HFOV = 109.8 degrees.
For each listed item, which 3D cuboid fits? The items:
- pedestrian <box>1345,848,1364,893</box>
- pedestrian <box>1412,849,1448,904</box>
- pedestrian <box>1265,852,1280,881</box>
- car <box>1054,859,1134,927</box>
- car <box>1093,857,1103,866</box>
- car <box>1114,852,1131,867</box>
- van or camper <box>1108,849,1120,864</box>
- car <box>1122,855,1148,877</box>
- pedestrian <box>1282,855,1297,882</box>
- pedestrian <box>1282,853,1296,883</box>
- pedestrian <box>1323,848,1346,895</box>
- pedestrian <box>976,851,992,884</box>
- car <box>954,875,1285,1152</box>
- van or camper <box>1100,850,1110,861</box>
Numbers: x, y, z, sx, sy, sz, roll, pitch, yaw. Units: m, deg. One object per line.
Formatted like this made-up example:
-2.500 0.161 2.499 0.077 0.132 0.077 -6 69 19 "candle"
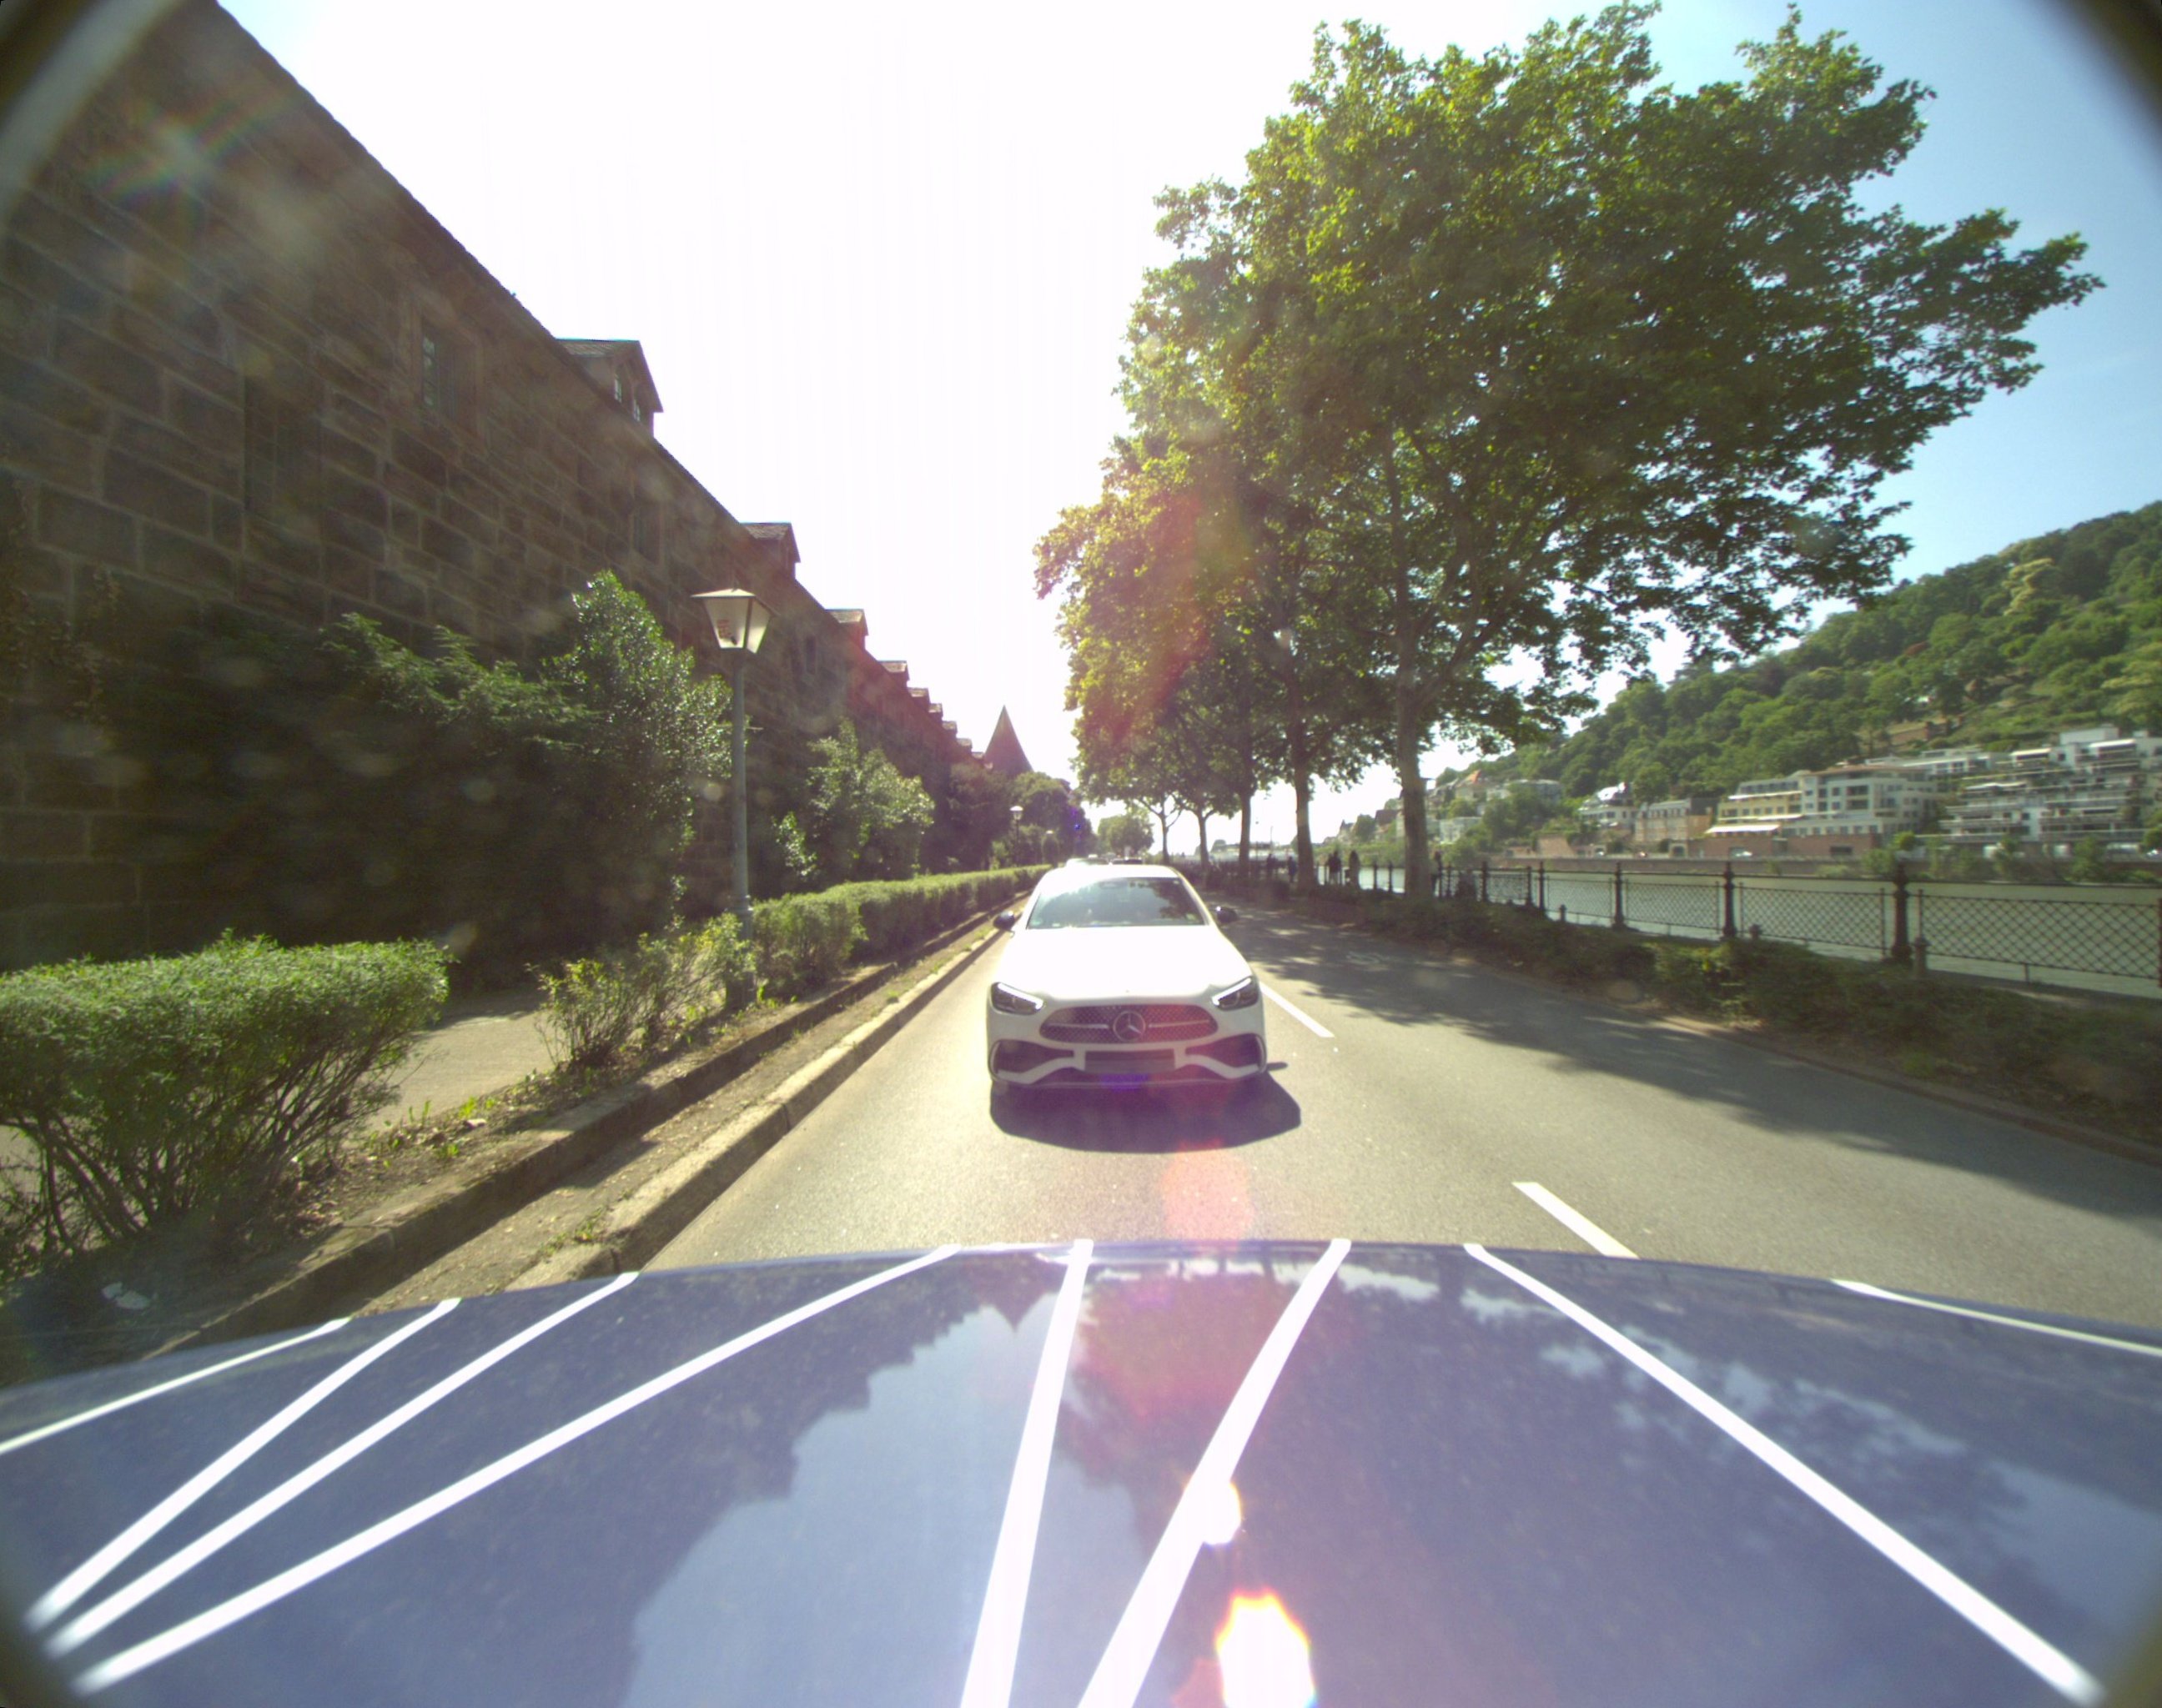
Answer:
10.856 0.658 30.145 0.518 1.758 0.592 1 0 1 "pedestrian"
11.211 0.711 24.427 0.695 1.707 0.874 -2 1 -1 "pedestrian"
11.743 0.757 46.604 0.705 1.721 0.705 0 1 3 "pedestrian"
0.343 0.923 19.740 1.854 1.543 3.849 1 0 1 "car"
3.717 1.573 165.355 1.923 1.975 3.999 0 0 -2 "car"
5.095 0.660 93.342 1.882 1.688 4.258 1 0 0 "car"
5.935 0.500 135.550 1.965 2.552 5.841 1 0 1 "van or camper"
4.252 0.913 60.479 1.768 1.638 4.090 1 0 1 "car"
12.386 0.838 45.106 0.705 1.594 0.705 0 1 3 "pedestrian"
12.788 0.848 46.763 0.705 1.786 0.705 0 1 3 "pedestrian"
10.186 0.689 30.554 0.642 1.859 0.806 1 0 1 "pedestrian"
-4.999 0.692 39.214 0.700 1.643 0.705 1 0 3 "pedestrian"
0.244 0.962 6.459 1.829 1.418 4.359 -1 0 1 "car"
6.132 0.457 193.047 2.328 2.646 6.264 1 0 0 "van or camper"
